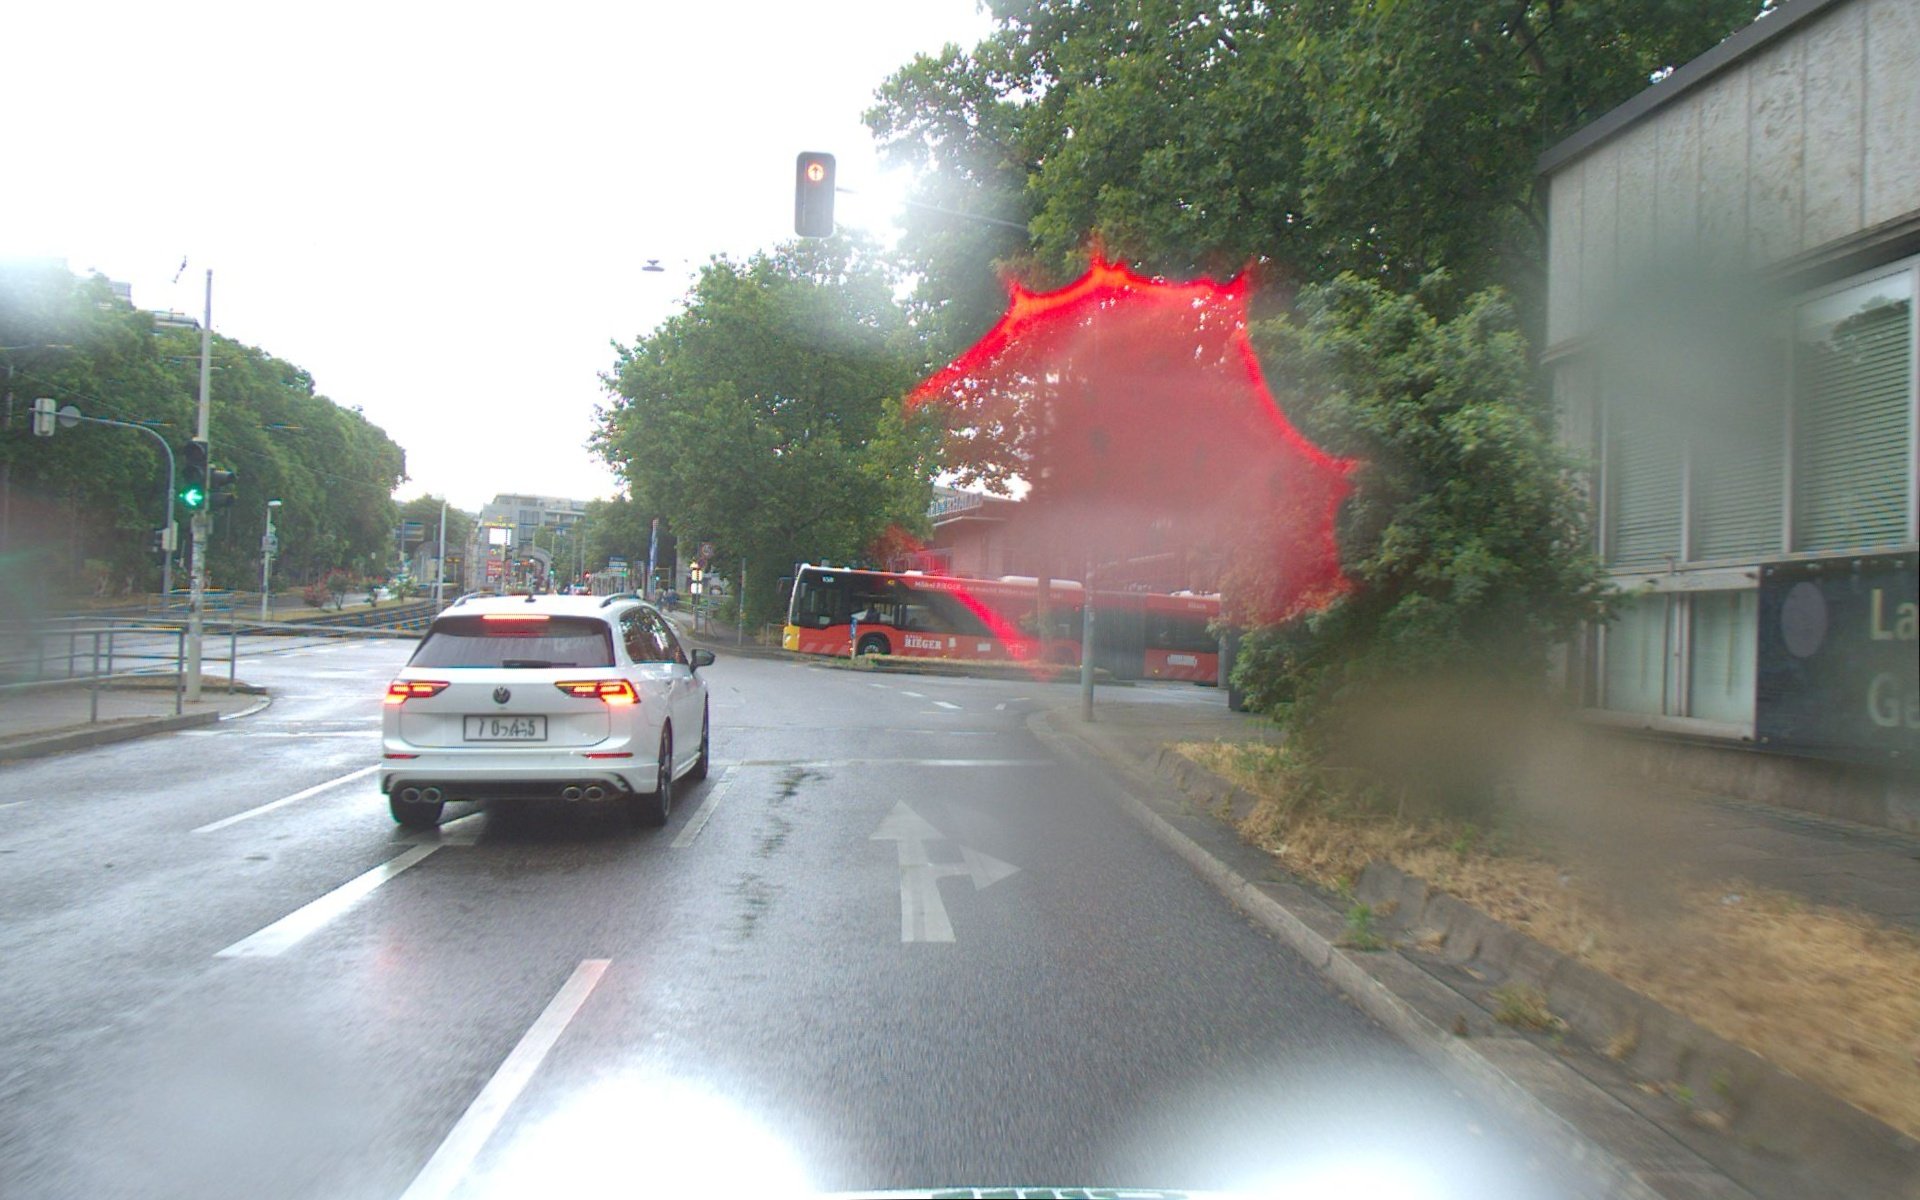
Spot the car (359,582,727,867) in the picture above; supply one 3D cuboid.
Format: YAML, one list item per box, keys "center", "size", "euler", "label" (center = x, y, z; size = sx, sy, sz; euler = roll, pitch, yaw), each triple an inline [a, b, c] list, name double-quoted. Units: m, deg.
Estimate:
- center: [-2.693, 0.710, 11.636]
  size: [1.645, 1.604, 4.251]
  euler: [1, 0, -3]
  label: "car"

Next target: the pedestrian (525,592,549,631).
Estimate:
- center: [-18.766, 0.496, 73.367]
  size: [0.723, 1.668, 0.870]
  euler: [4, -2, -1]
  label: "pedestrian"

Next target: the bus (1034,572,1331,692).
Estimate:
- center: [7.125, 1.045, 53.235]
  size: [8.994, 3.165, 2.656]
  euler: [4, -2, -12]
  label: "bus"

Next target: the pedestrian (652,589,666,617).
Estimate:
- center: [-20.507, 0.211, 112.772]
  size: [0.743, 1.855, 0.698]
  euler: [4, -2, -15]
  label: "pedestrian"

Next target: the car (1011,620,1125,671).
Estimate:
- center: [4.884, 2.063, 74.775]
  size: [4.685, 1.977, 1.985]
  euler: [4, -2, -25]
  label: "car"

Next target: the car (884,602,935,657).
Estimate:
- center: [-3.174, 1.836, 102.411]
  size: [2.497, 3.188, 5.022]
  euler: [4, -1, -8]
  label: "car"

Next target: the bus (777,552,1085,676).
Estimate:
- center: [-0.942, 0.482, 51.821]
  size: [9.252, 3.165, 2.553]
  euler: [4, -2, -10]
  label: "bus"

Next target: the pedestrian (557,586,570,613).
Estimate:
- center: [-50.305, -0.077, 209.956]
  size: [1.329, 3.308, 0.981]
  euler: [4, -2, -9]
  label: "pedestrian"

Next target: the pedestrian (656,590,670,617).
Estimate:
- center: [-20.518, 0.244, 114.220]
  size: [0.743, 1.855, 0.698]
  euler: [4, -2, -15]
  label: "pedestrian"
